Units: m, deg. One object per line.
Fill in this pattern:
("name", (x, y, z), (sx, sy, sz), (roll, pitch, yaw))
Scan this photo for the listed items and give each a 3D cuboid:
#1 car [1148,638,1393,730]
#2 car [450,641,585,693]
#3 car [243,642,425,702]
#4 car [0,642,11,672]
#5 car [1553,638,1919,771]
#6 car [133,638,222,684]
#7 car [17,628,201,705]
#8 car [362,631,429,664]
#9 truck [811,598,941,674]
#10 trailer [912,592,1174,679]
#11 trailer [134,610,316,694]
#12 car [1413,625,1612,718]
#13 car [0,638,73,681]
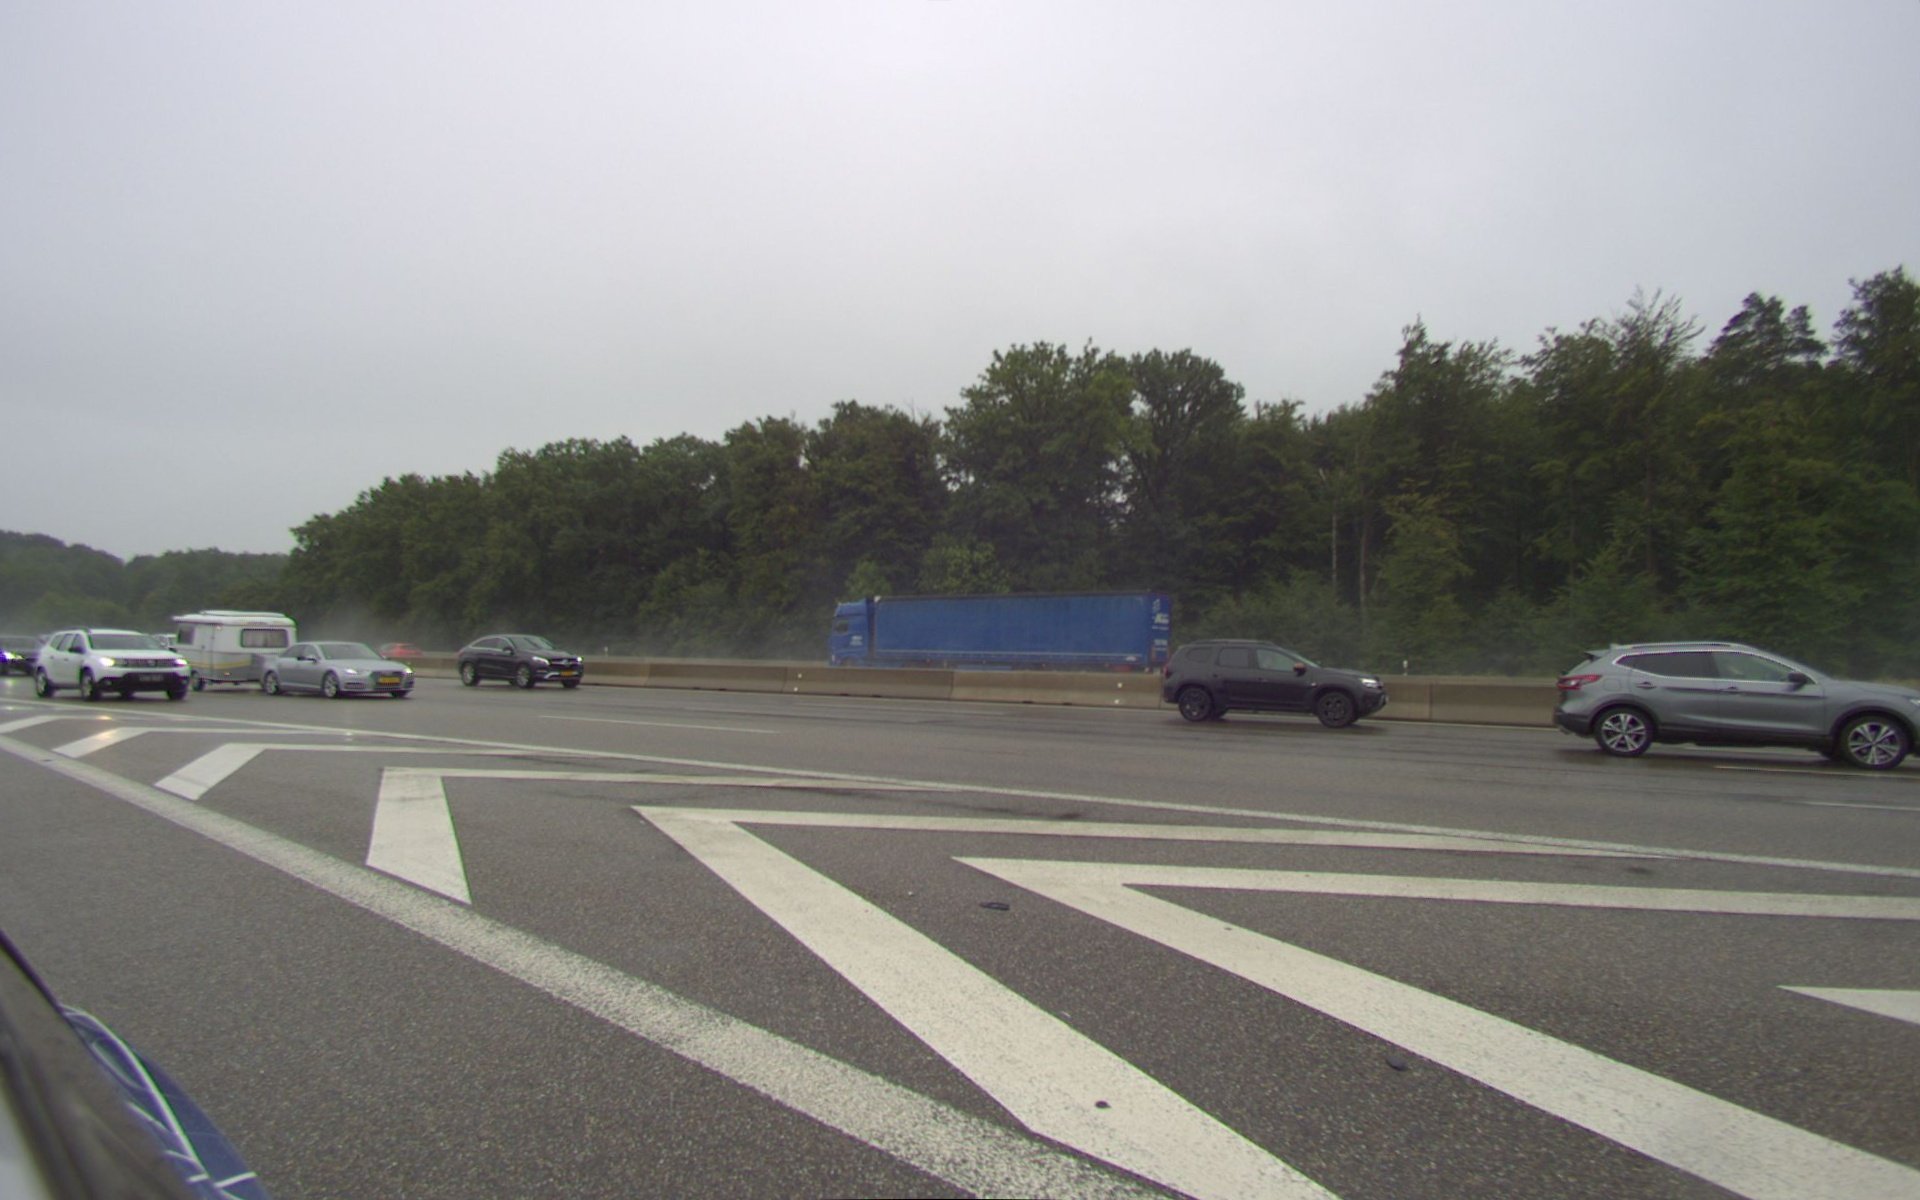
("car", (6.197, 1.618, 20.271), (4.438, 1.676, 1.914), (-1, -4, 28))
("car", (-14.467, 2.162, 33.043), (4.508, 1.587, 1.692), (-1, -5, 31))
("car", (-15.525, 1.755, 25.047), (4.563, 1.358, 1.833), (-2, -5, 30))
("car", (-48.045, 2.778, 49.085), (4.107, 1.425, 1.805), (-3, -5, 30))
("car", (10.556, 1.338, 13.704), (4.319, 1.586, 1.705), (-1, -4, 31))
("car", (-36.801, 2.860, 47.568), (3.983, 2.029, 1.923), (-2, -1, 29))
("car", (-19.222, 1.493, 22.835), (4.306, 1.598, 1.773), (-2, -5, 30))
("car", (-35.357, 2.969, 63.374), (3.987, 2.029, 1.978), (-2, -3, 33))
("truck", (-4.012, 1.724, 48.457), (5.687, 3.441, 2.742), (-1, -3, 30))
("trailer", (3.399, 1.562, 44.087), (11.353, 3.443, 2.713), (-1, -3, 30))
("trailer", (-20.596, 1.469, 28.311), (5.158, 2.172, 2.114), (-2, -5, 30))
("car", (13.017, 1.643, 24.014), (3.984, 2.029, 1.861), (-1, -3, 30))
("car", (-35.007, 2.171, 37.386), (4.481, 1.492, 1.868), (-1, -4, 28))
